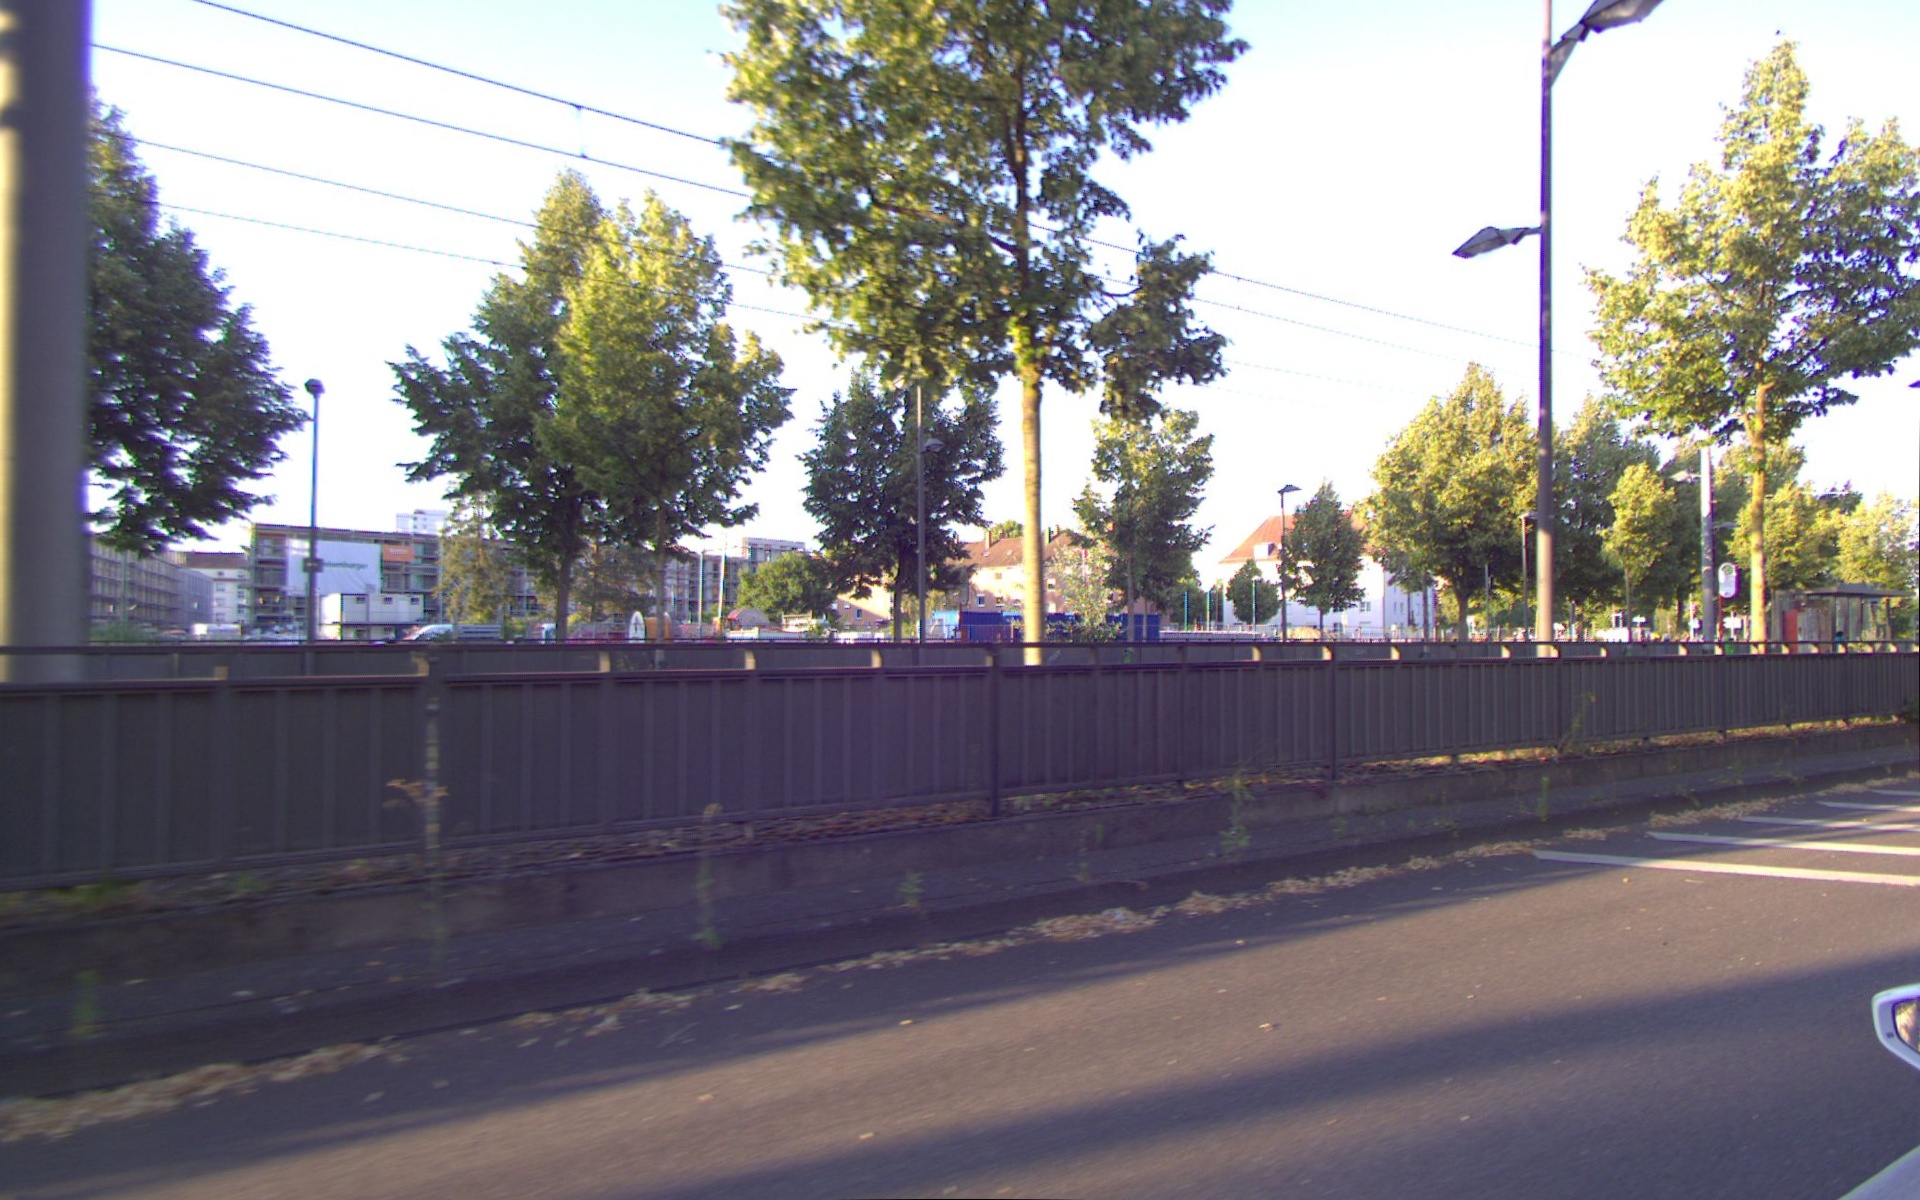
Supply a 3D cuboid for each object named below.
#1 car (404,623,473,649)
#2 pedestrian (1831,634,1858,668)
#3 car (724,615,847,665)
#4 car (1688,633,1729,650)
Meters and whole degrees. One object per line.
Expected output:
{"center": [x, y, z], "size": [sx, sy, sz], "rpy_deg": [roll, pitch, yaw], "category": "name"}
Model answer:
{"center": [-42.383, 2.951, 81.663], "size": [4.760, 2.040, 1.979], "rpy_deg": [1, -2, -37], "category": "car"}
{"center": [34.432, 1.979, 39.109], "size": [0.737, 1.337, 0.611], "rpy_deg": [1, -2, -33], "category": "pedestrian"}
{"center": [-8.321, 1.914, 48.498], "size": [2.384, 2.254, 5.897], "rpy_deg": [-1, -2, 36], "category": "car"}
{"center": [76.853, 4.223, 103.188], "size": [3.953, 1.684, 1.984], "rpy_deg": [1, -2, -30], "category": "car"}
